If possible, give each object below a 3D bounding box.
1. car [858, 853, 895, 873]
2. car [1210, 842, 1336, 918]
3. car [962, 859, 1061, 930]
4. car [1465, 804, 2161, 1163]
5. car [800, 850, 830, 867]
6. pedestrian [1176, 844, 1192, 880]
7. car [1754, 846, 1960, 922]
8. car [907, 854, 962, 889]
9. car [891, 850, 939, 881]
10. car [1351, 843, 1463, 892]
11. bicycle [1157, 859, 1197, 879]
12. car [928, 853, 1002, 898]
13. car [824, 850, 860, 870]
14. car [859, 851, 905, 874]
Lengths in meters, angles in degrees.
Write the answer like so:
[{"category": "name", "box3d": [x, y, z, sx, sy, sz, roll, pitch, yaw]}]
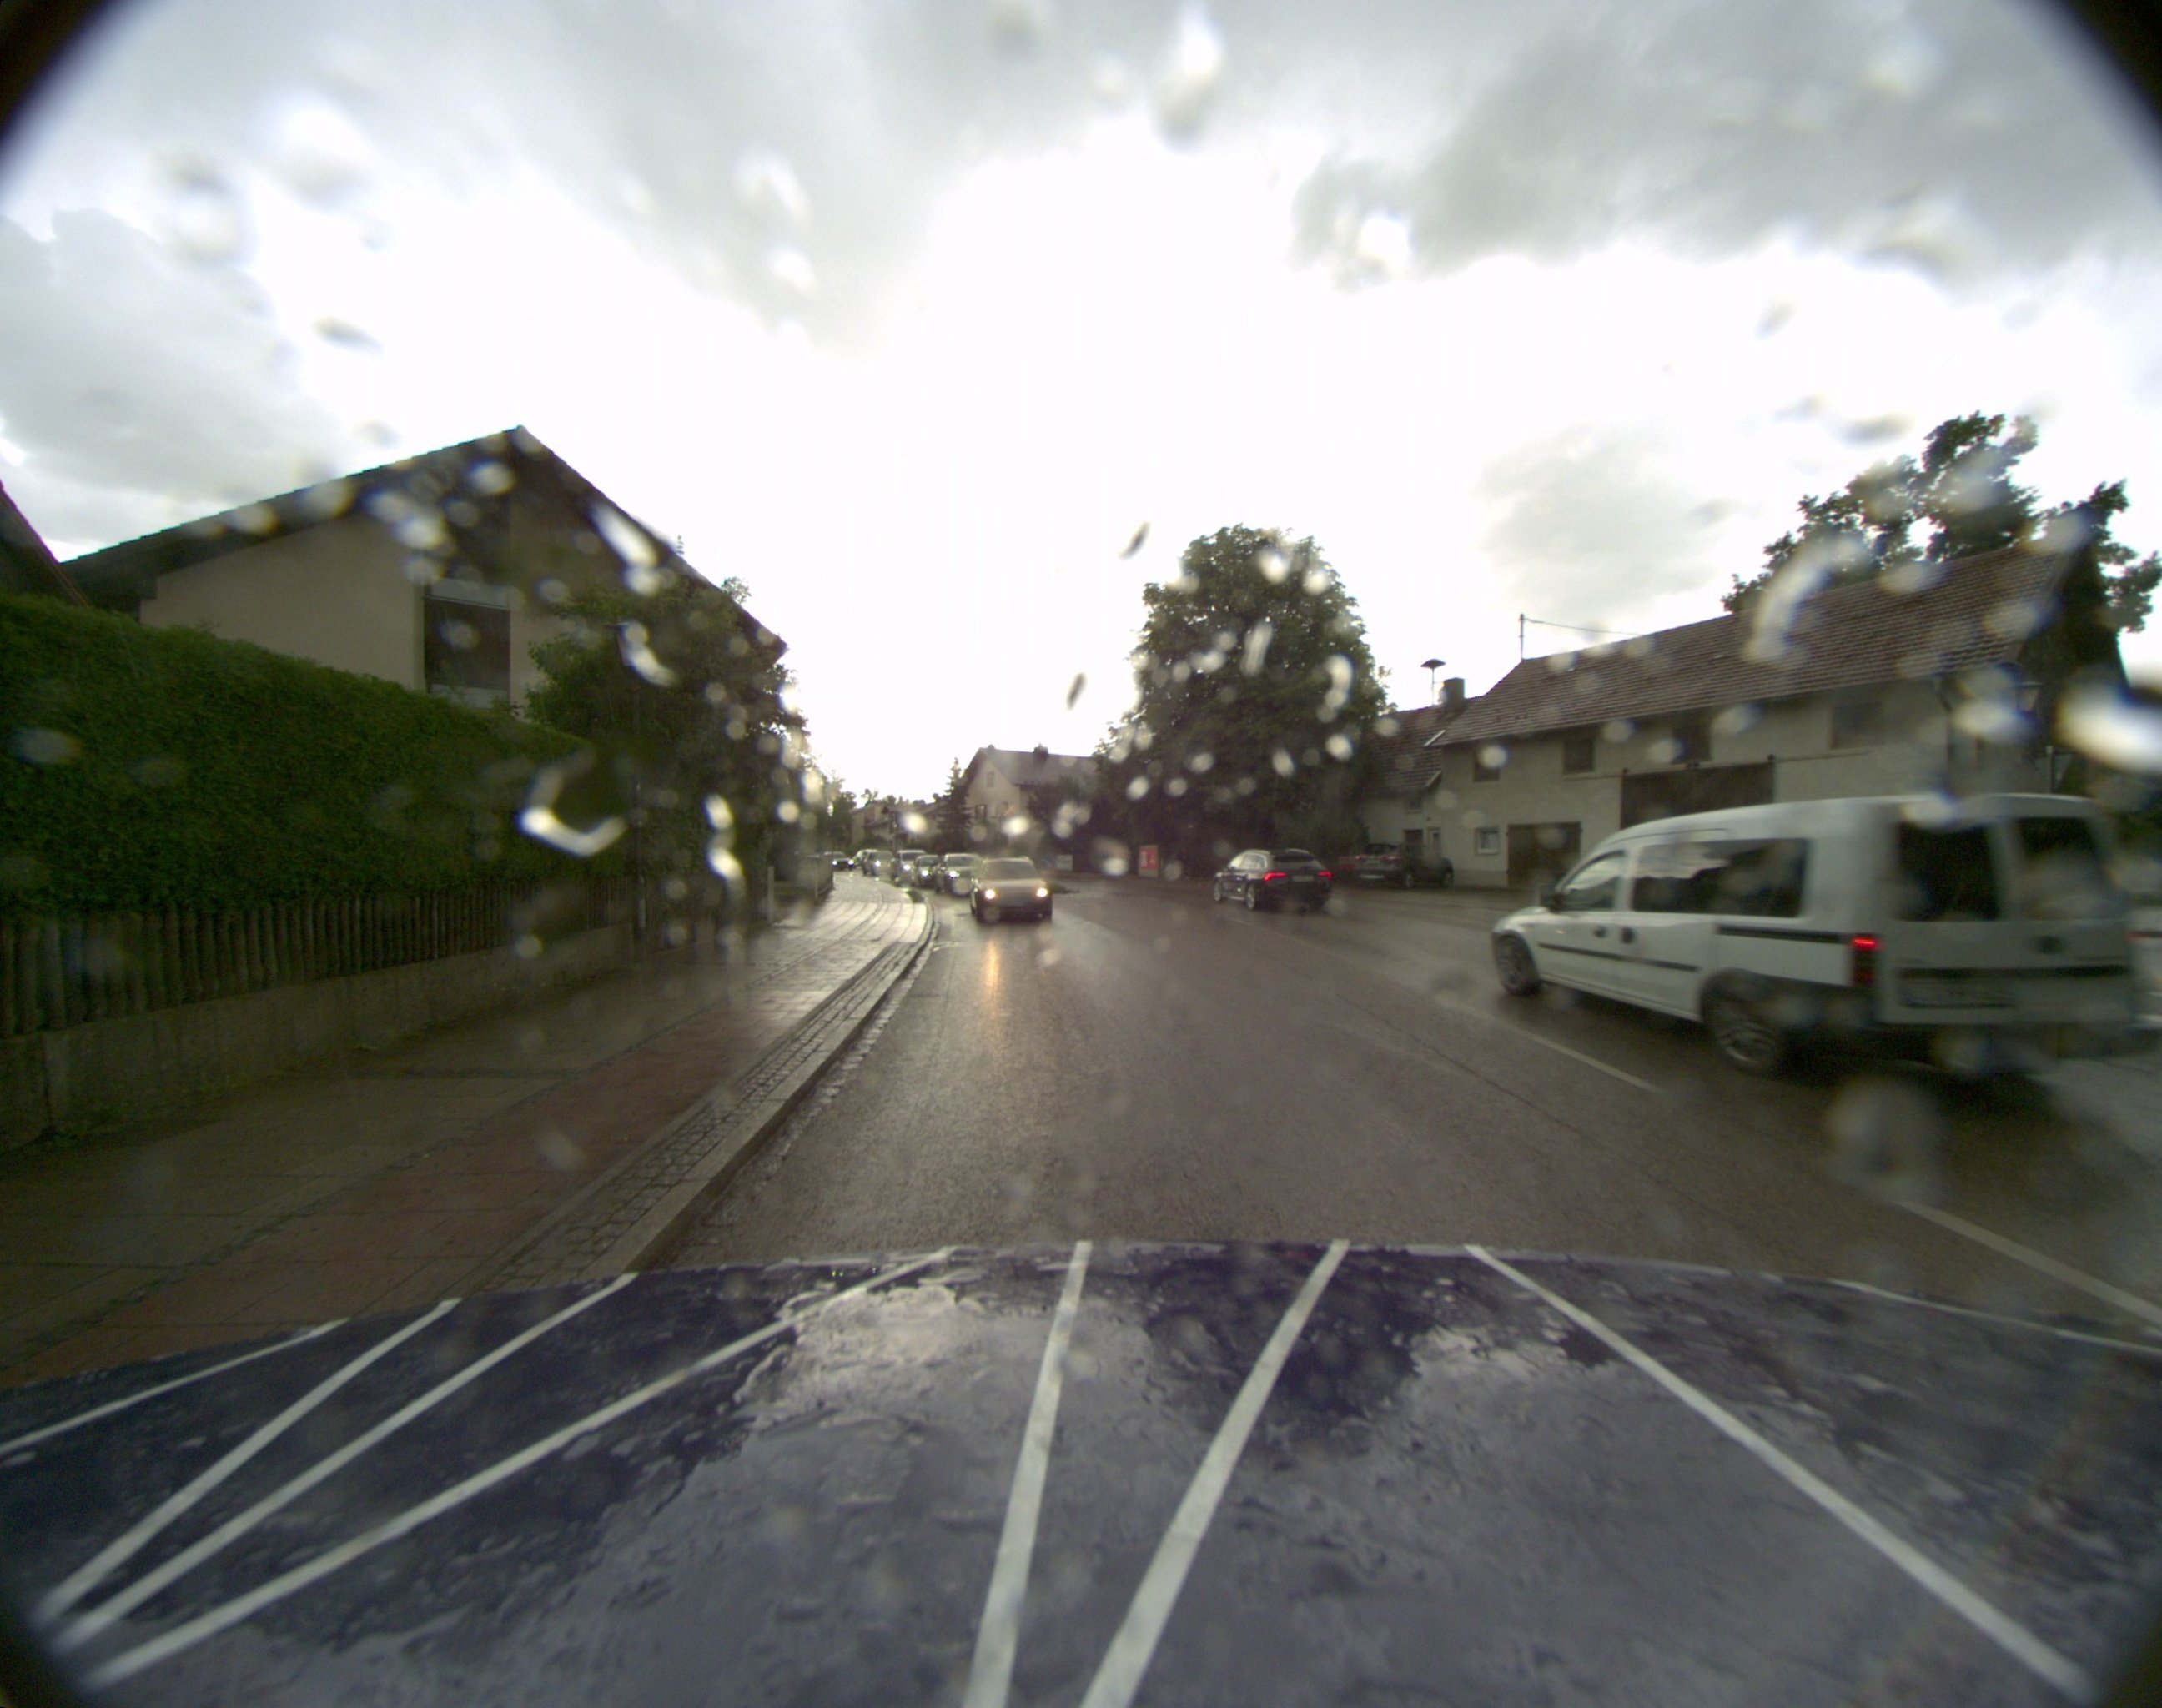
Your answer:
[{"category": "car", "box3d": [-17.317, 0.738, 64.241, 2.003, 1.586, 4.182, -2, 1, -29]}, {"category": "car", "box3d": [4.656, 0.577, 19.131, 1.789, 1.653, 4.444, -1, 0, -4]}, {"category": "car", "box3d": [-1.818, 0.877, 18.600, 1.796, 1.387, 4.275, -2, 1, -13]}, {"category": "car", "box3d": [4.910, 0.606, 5.945, 1.644, 1.755, 4.330, -2, 1, 1]}, {"category": "car", "box3d": [-25.615, 0.427, 72.998, 1.798, 1.539, 4.270, -3, 1, -31]}, {"category": "pedestrian", "box3d": [4.717, 0.367, 34.840, 0.652, 1.619, 0.479, 0, 1, 19]}, {"category": "car", "box3d": [16.697, 0.566, 16.337, 4.287, 1.428, 1.817, -1, 1, -26]}, {"category": "car", "box3d": [-6.807, 0.751, 34.994, 1.796, 1.387, 4.273, -2, 1, -20]}, {"category": "car", "box3d": [-9.001, 0.570, 40.998, 1.797, 1.539, 4.273, -3, 1, -22]}, {"category": "car", "box3d": [11.244, 0.451, 26.098, 4.290, 1.539, 1.812, 1, 0, -40]}, {"category": "bicycle", "box3d": [4.533, 0.693, 35.998, 0.665, 0.897, 1.869, -2, 1, -42]}, {"category": "car", "box3d": [-4.561, 0.750, 29.156, 1.796, 1.471, 5.376, -2, 1, -20]}, {"category": "car", "box3d": [-19.661, 0.490, 62.436, 1.798, 1.539, 4.271, -3, 1, -31]}, {"category": "car", "box3d": [-13.334, 0.546, 50.750, 1.798, 1.365, 4.271, -3, 1, -31]}]
